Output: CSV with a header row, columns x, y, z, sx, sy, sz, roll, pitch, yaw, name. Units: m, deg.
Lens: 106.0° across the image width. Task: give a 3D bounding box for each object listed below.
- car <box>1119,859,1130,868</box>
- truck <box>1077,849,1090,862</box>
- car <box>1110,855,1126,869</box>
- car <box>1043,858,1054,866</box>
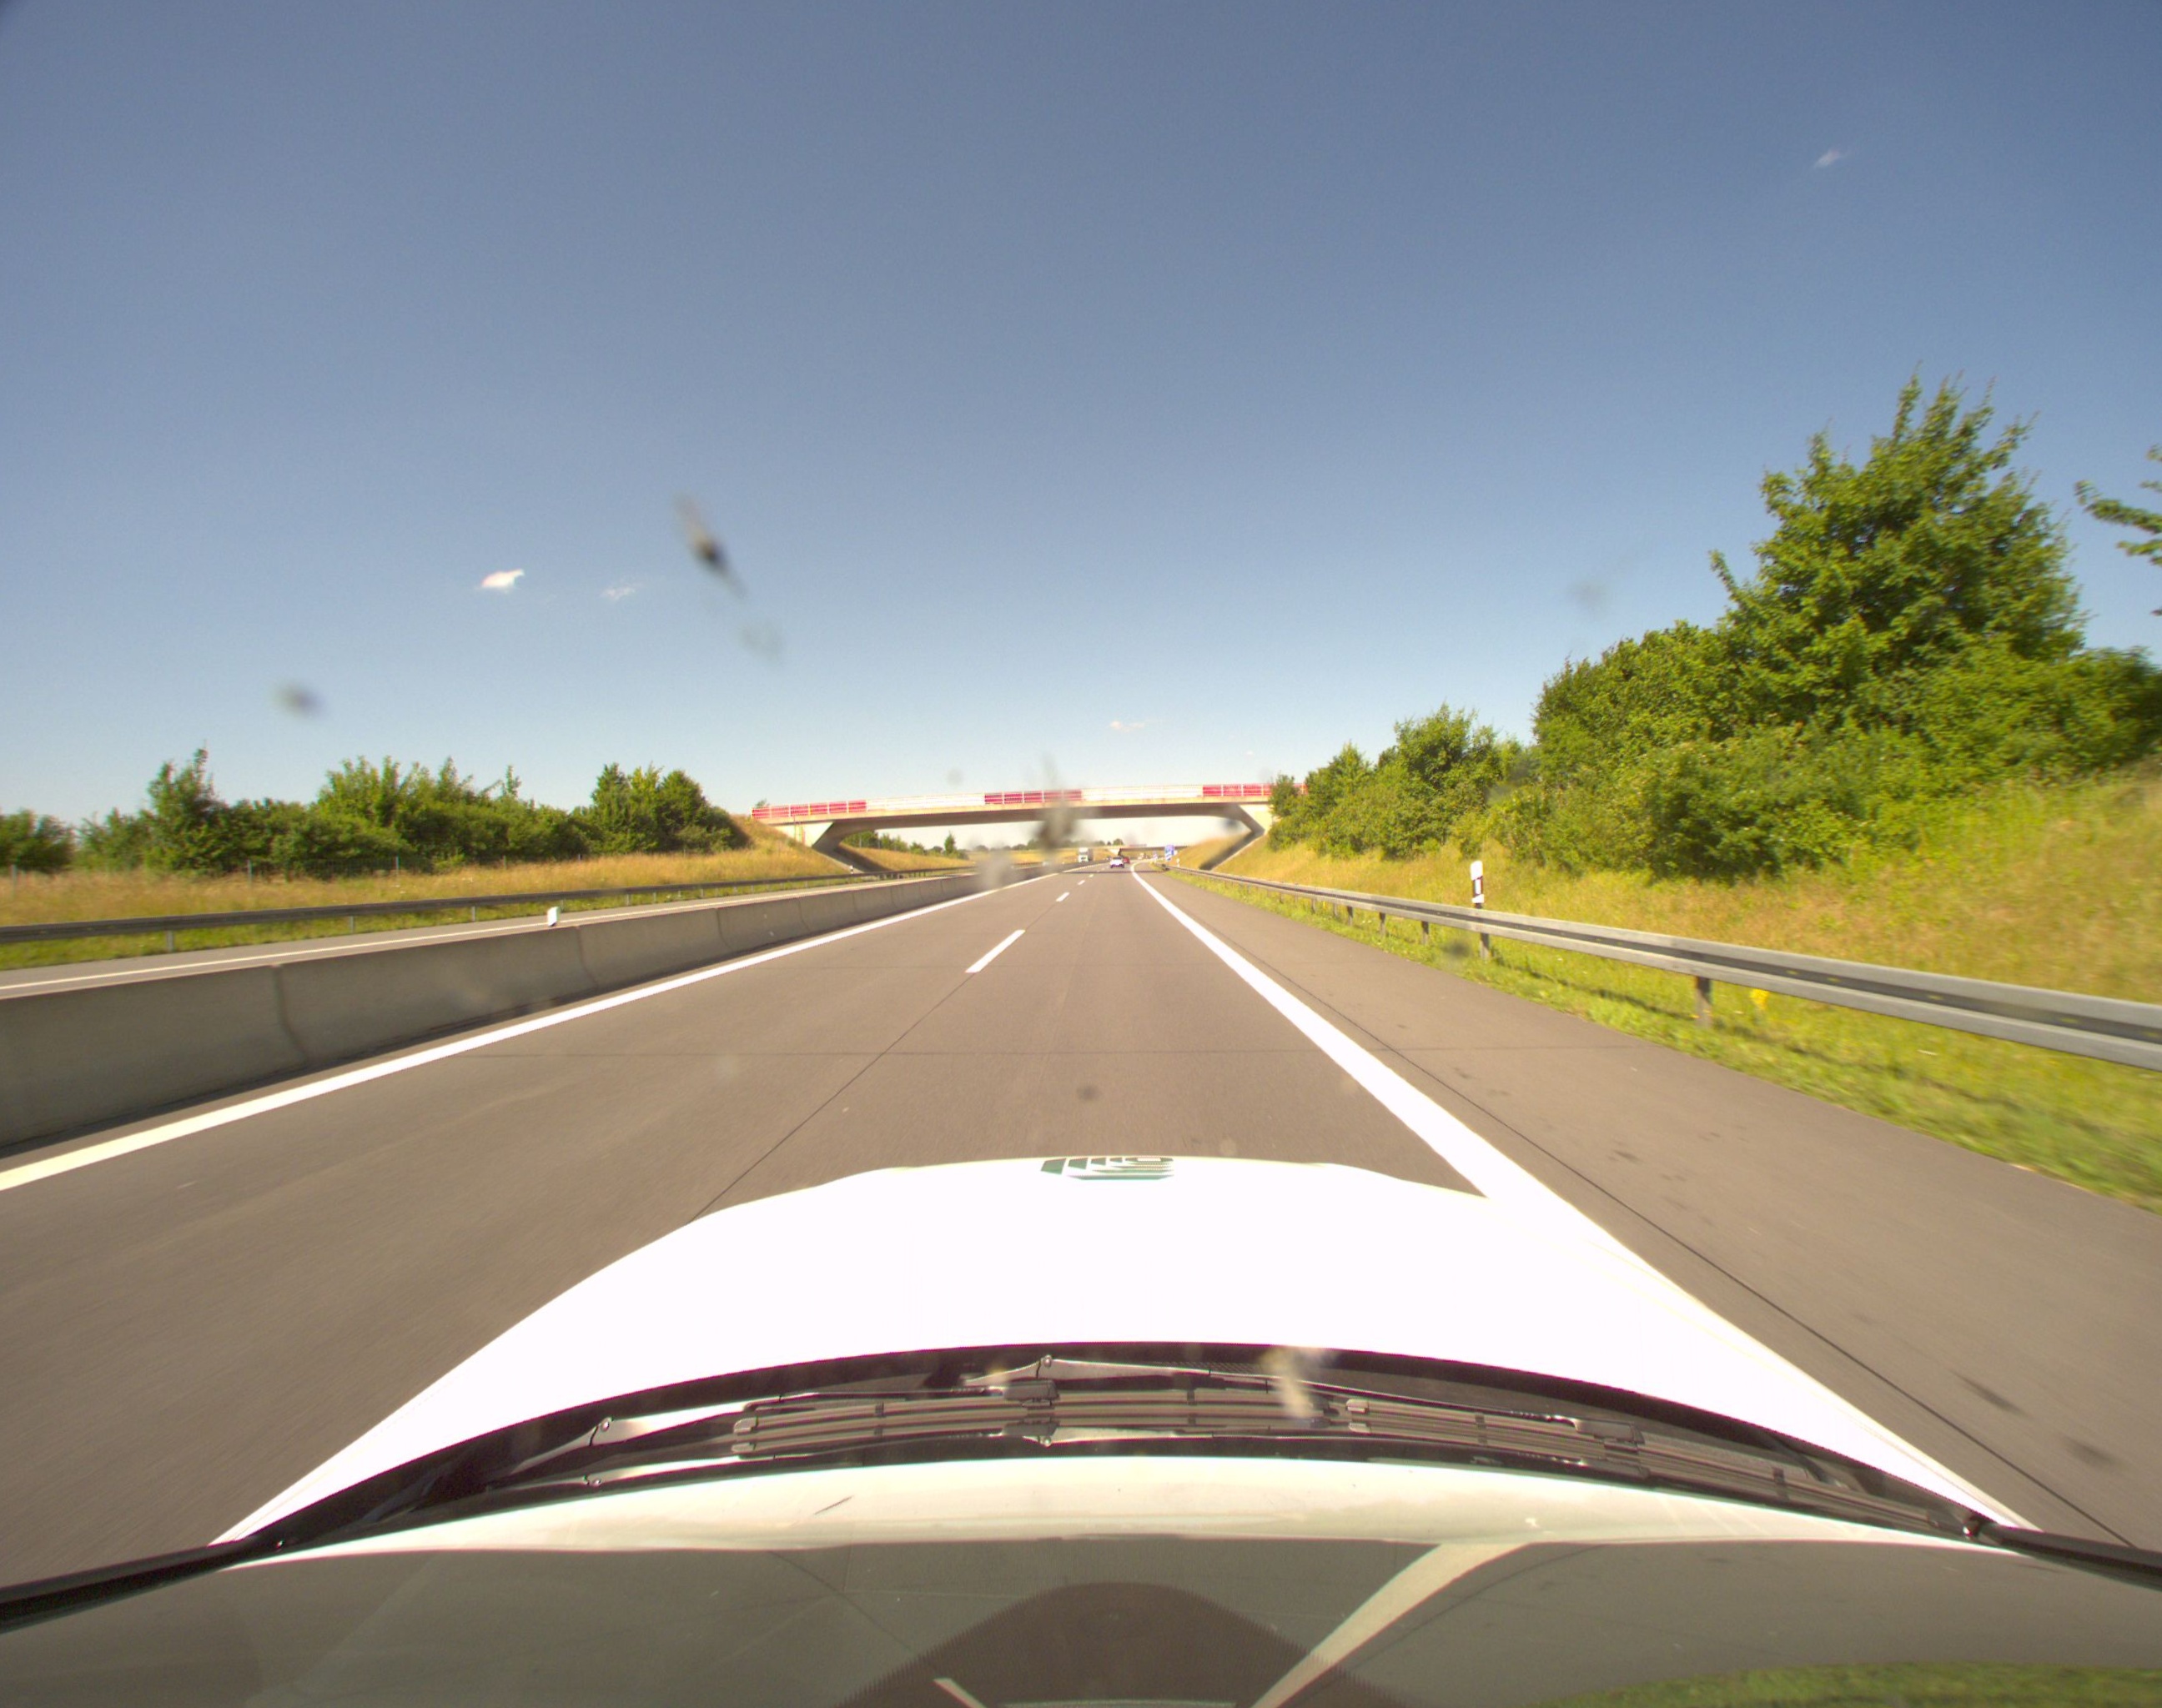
x,y,z,sx,sy,sz,roll,pitch,yaw,name
8.738,1.856,163.678,1.983,1.731,4.877,-3,0,6,car
0.698,0.388,235.992,2.655,3.568,8.187,-1,0,7,truck
5.052,1.114,110.704,1.986,1.731,4.870,-3,0,1,car
-6.143,1.560,153.086,1.652,1.453,4.005,-1,0,4,car
